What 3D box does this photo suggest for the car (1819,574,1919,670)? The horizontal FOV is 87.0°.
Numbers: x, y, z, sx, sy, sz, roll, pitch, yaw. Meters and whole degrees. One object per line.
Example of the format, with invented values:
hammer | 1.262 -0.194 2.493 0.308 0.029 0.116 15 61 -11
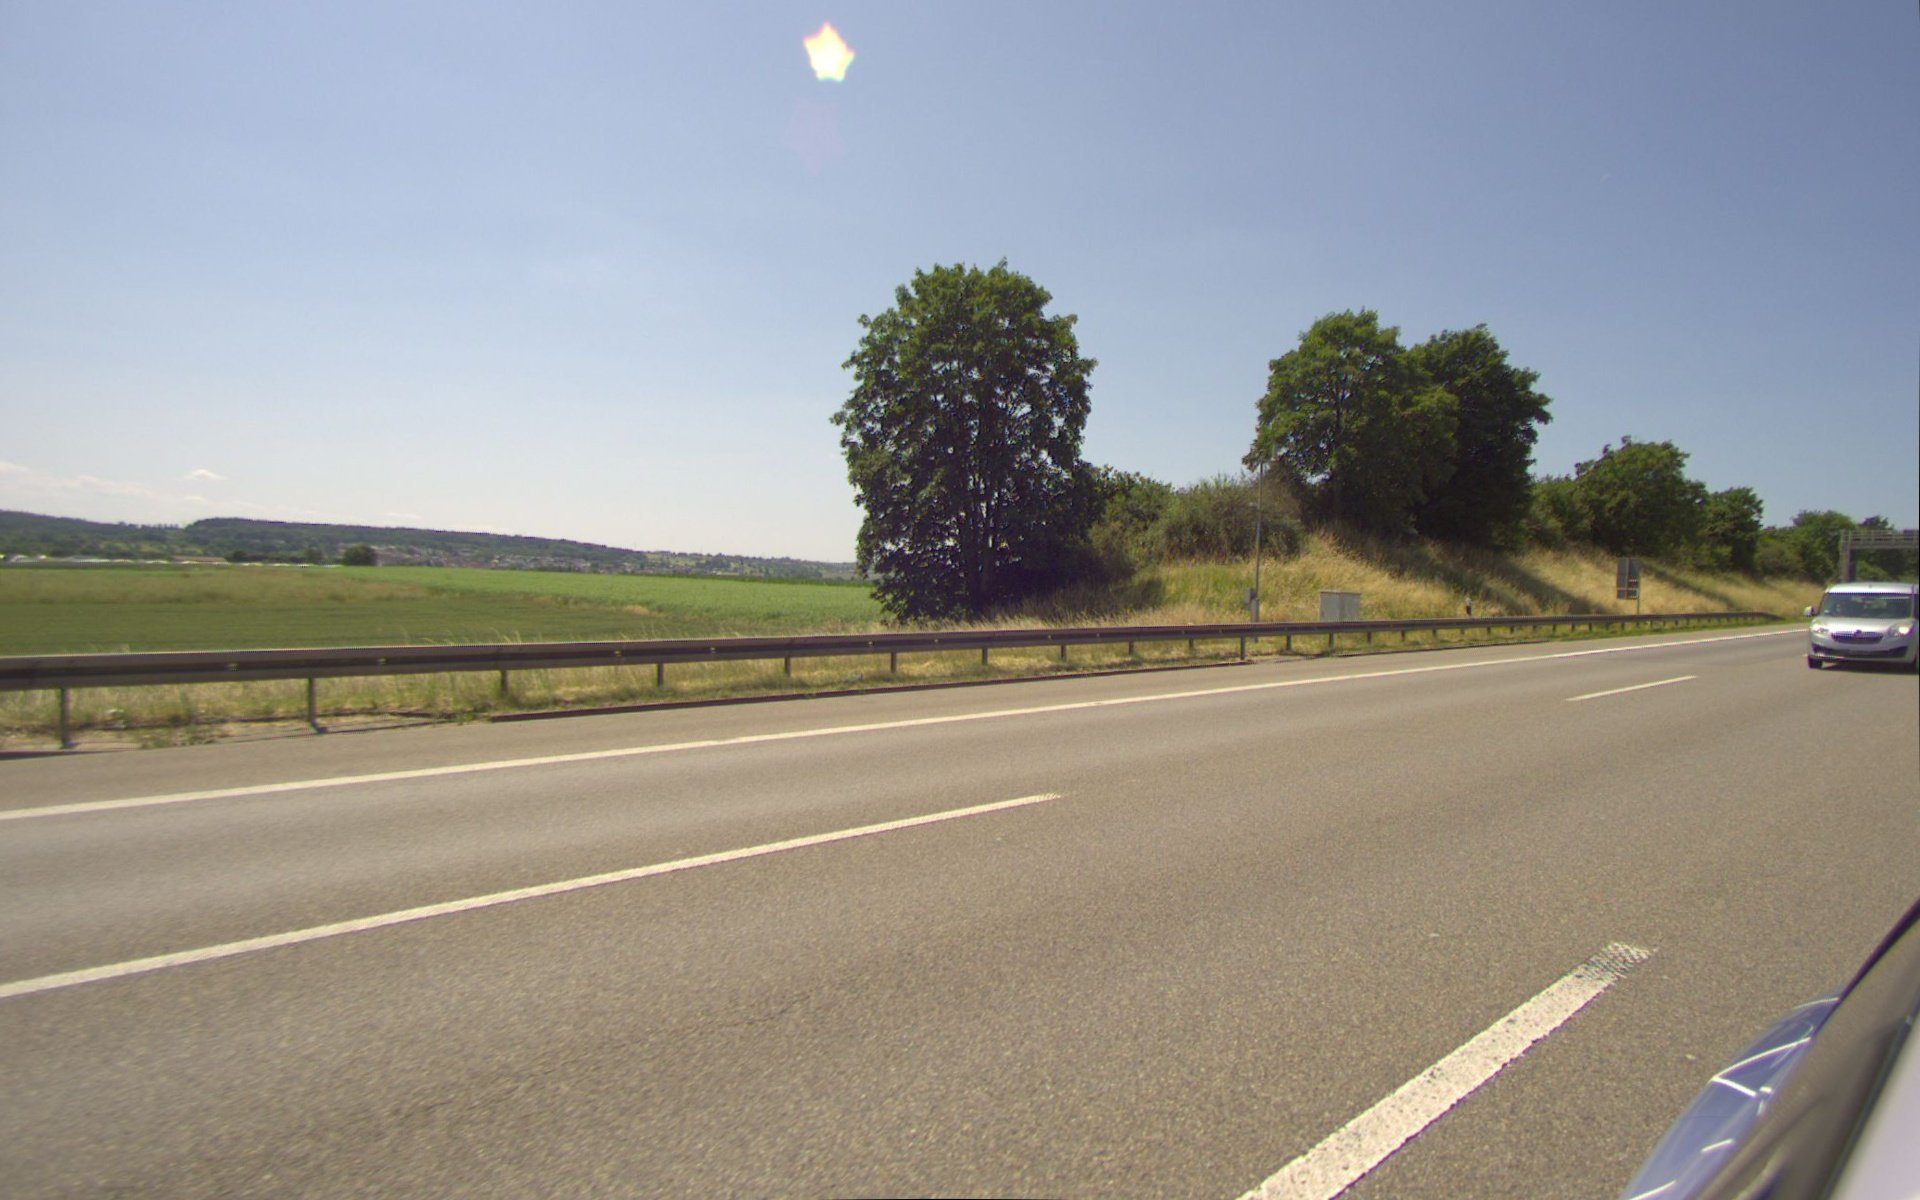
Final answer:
car | 20.192 0.412 21.886 5.221 1.870 1.810 0 1 -42
